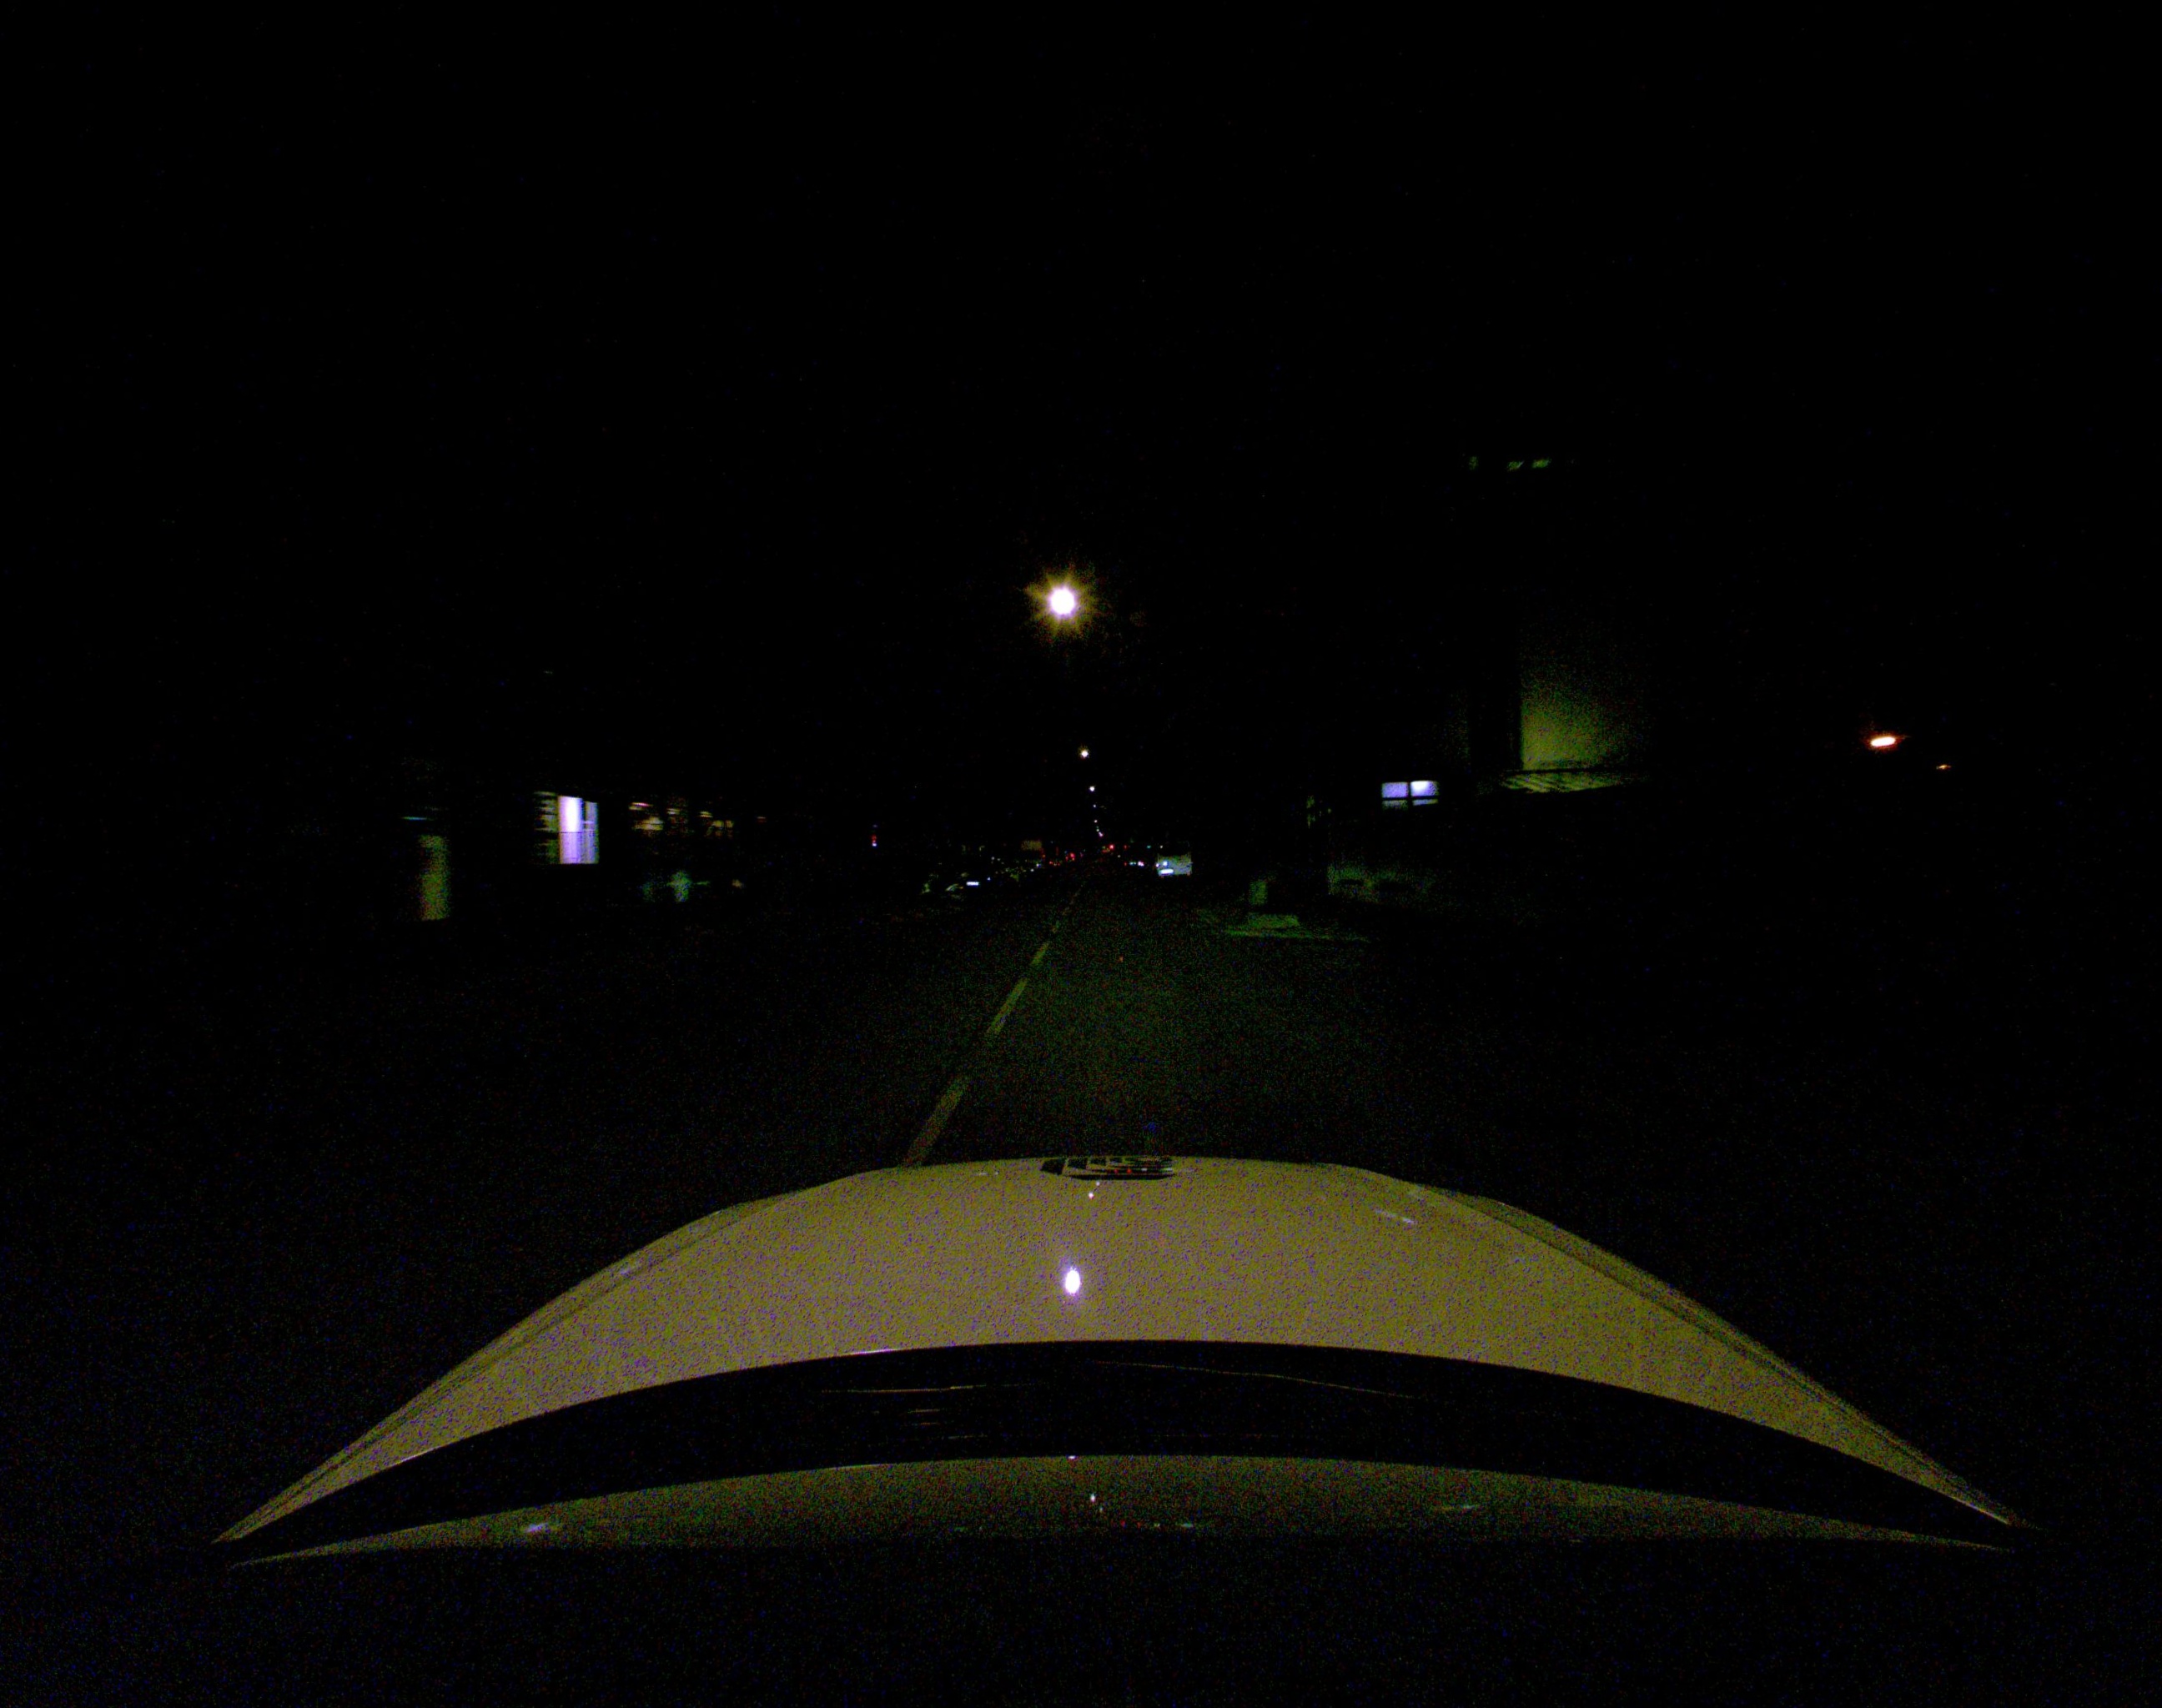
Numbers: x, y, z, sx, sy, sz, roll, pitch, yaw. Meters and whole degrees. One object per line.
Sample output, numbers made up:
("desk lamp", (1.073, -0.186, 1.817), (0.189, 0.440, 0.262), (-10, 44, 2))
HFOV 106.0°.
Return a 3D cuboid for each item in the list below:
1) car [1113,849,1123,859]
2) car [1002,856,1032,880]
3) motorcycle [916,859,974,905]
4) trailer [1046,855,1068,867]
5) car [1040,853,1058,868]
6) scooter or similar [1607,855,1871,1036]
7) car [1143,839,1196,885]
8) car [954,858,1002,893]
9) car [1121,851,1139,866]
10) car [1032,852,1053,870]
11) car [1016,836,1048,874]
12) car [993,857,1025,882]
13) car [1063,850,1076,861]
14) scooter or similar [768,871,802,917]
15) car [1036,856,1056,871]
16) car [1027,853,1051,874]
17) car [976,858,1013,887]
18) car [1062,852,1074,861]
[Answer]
("car", (6.868, -0.012, 152.218), (1.846, 1.654, 4.211), (-2, 0, 2))
("car", (-4.246, 0.901, 54.507), (1.640, 1.505, 3.860), (-1, 0, 0))
("motorcycle", (-4.716, 0.949, 28.273), (1.907, 1.550, 0.635), (0, 0, -19))
("trailer", (-2.765, 0.753, 94.530), (2.102, 1.335, 5.438), (1, 0, 3))
("car", (-3.366, 0.697, 87.273), (1.710, 1.502, 4.206), (1, 0, 1))
("scooter or similar", (5.064, 0.632, 6.463), (0.545, 1.203, 1.911), (-2, -1, 1))
("car", (4.227, 0.358, 39.403), (1.945, 1.964, 4.603), (-4, 0, 0))
("car", (-4.690, 0.939, 37.530), (1.637, 1.504, 3.904), (0, 0, 1))
("car", (4.960, 0.435, 81.608), (1.661, 1.429, 4.152), (-4, 0, 4))
("car", (-3.583, 0.666, 76.774), (1.736, 1.606, 4.297), (-1, 0, -1))
("car", (-3.911, 0.078, 65.518), (2.171, 2.909, 4.910), (0, 0, 1))
("car", (-4.269, 0.906, 48.548), (1.542, 1.455, 3.368), (0, 0, 1))
("car", (-1.955, 0.223, 139.273), (1.815, 1.811, 4.213), (1, 0, 3))
("scooter or similar", (-8.235, 1.090, 22.708), (0.365, 1.204, 1.428), (-2, 0, 2))
("car", (-3.549, 0.957, 82.213), (1.698, 1.411, 4.634), (-2, 0, 1))
("car", (-3.625, 0.783, 70.919), (1.736, 1.606, 4.115), (-3, 1, 0))
("car", (-4.495, 0.945, 42.754), (1.440, 1.429, 3.904), (1, 0, 1))
("car", (-2.110, 0.442, 131.341), (1.693, 1.433, 3.831), (1, 0, 3))
